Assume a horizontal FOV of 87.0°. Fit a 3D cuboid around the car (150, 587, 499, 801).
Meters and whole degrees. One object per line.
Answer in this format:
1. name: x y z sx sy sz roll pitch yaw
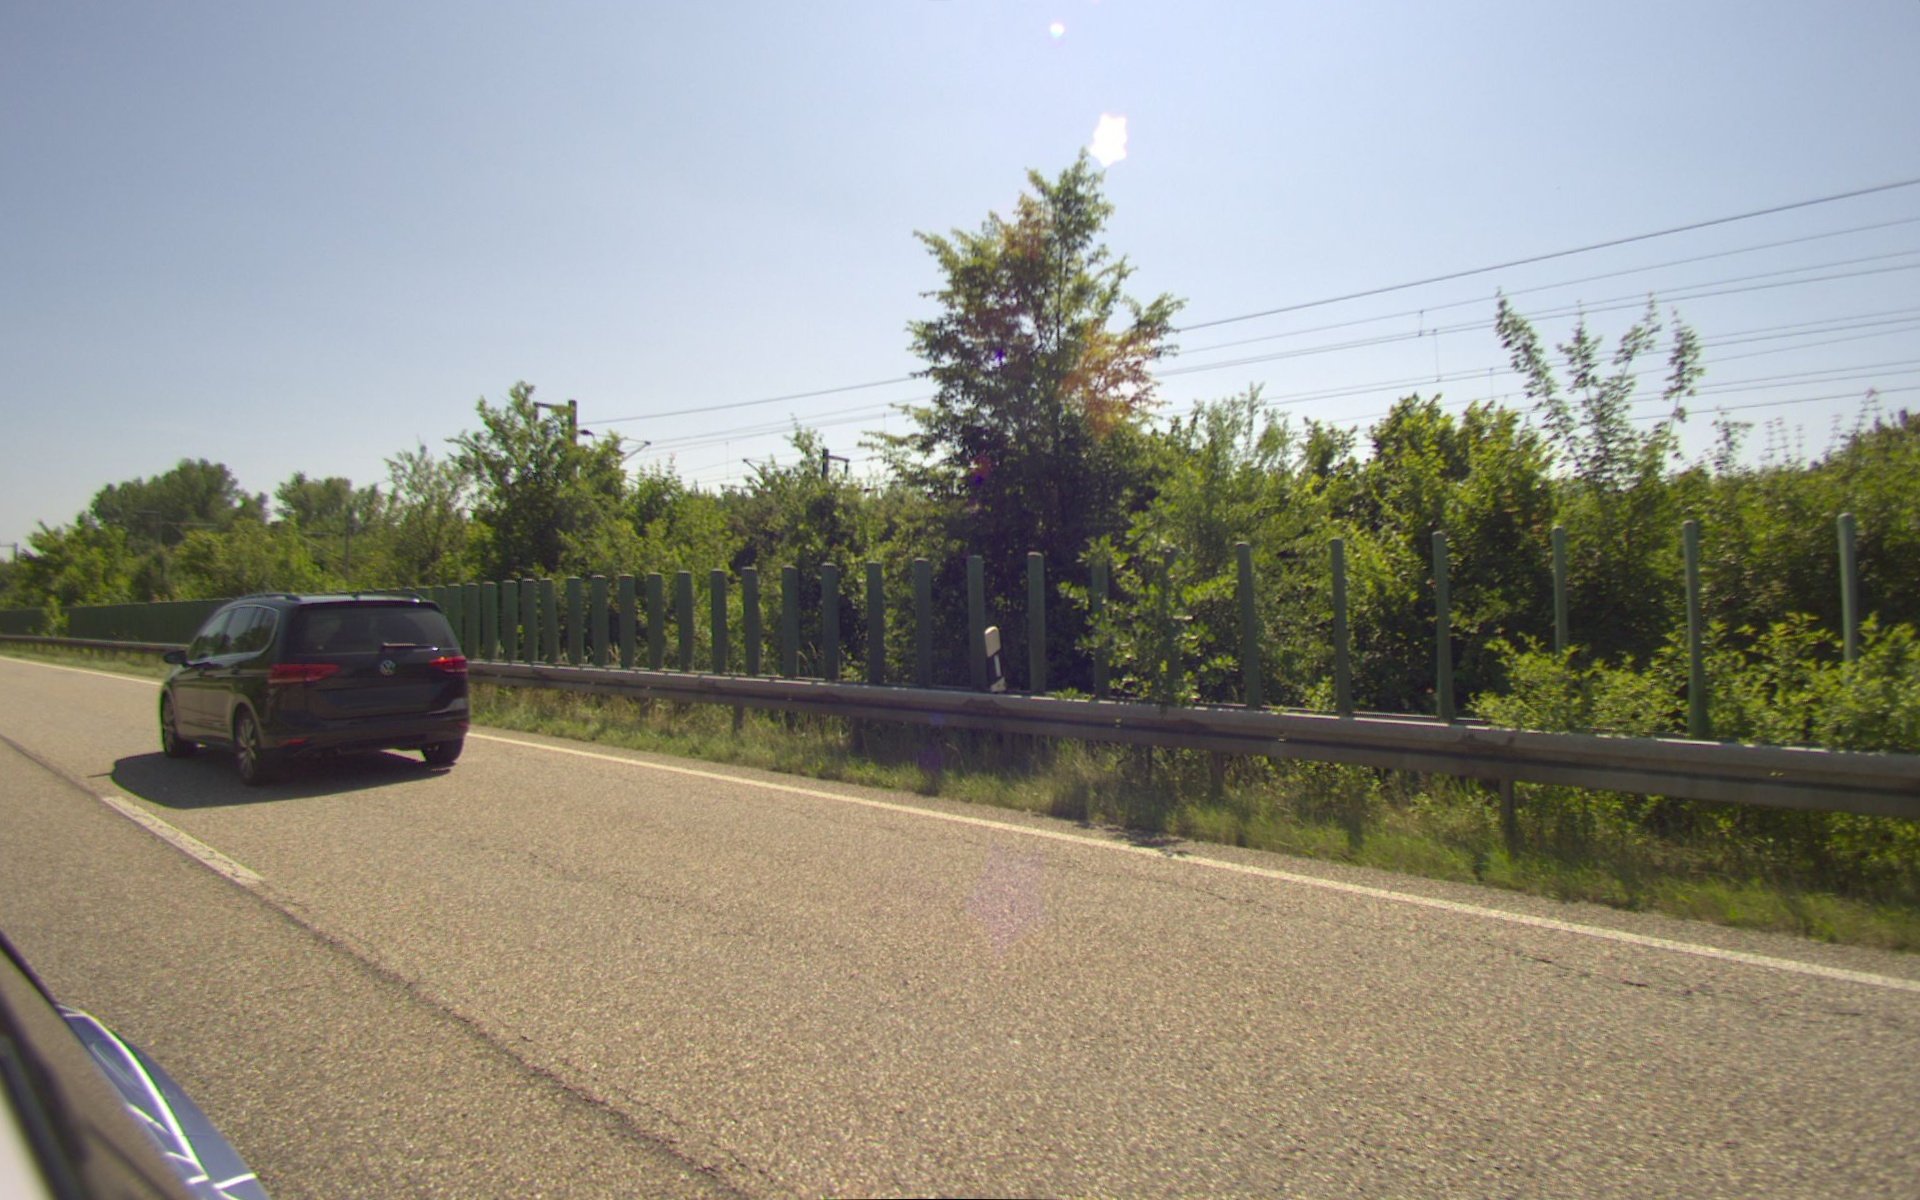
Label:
1. car: -6.313 0.764 9.869 4.123 1.652 1.746 -1 -1 41
